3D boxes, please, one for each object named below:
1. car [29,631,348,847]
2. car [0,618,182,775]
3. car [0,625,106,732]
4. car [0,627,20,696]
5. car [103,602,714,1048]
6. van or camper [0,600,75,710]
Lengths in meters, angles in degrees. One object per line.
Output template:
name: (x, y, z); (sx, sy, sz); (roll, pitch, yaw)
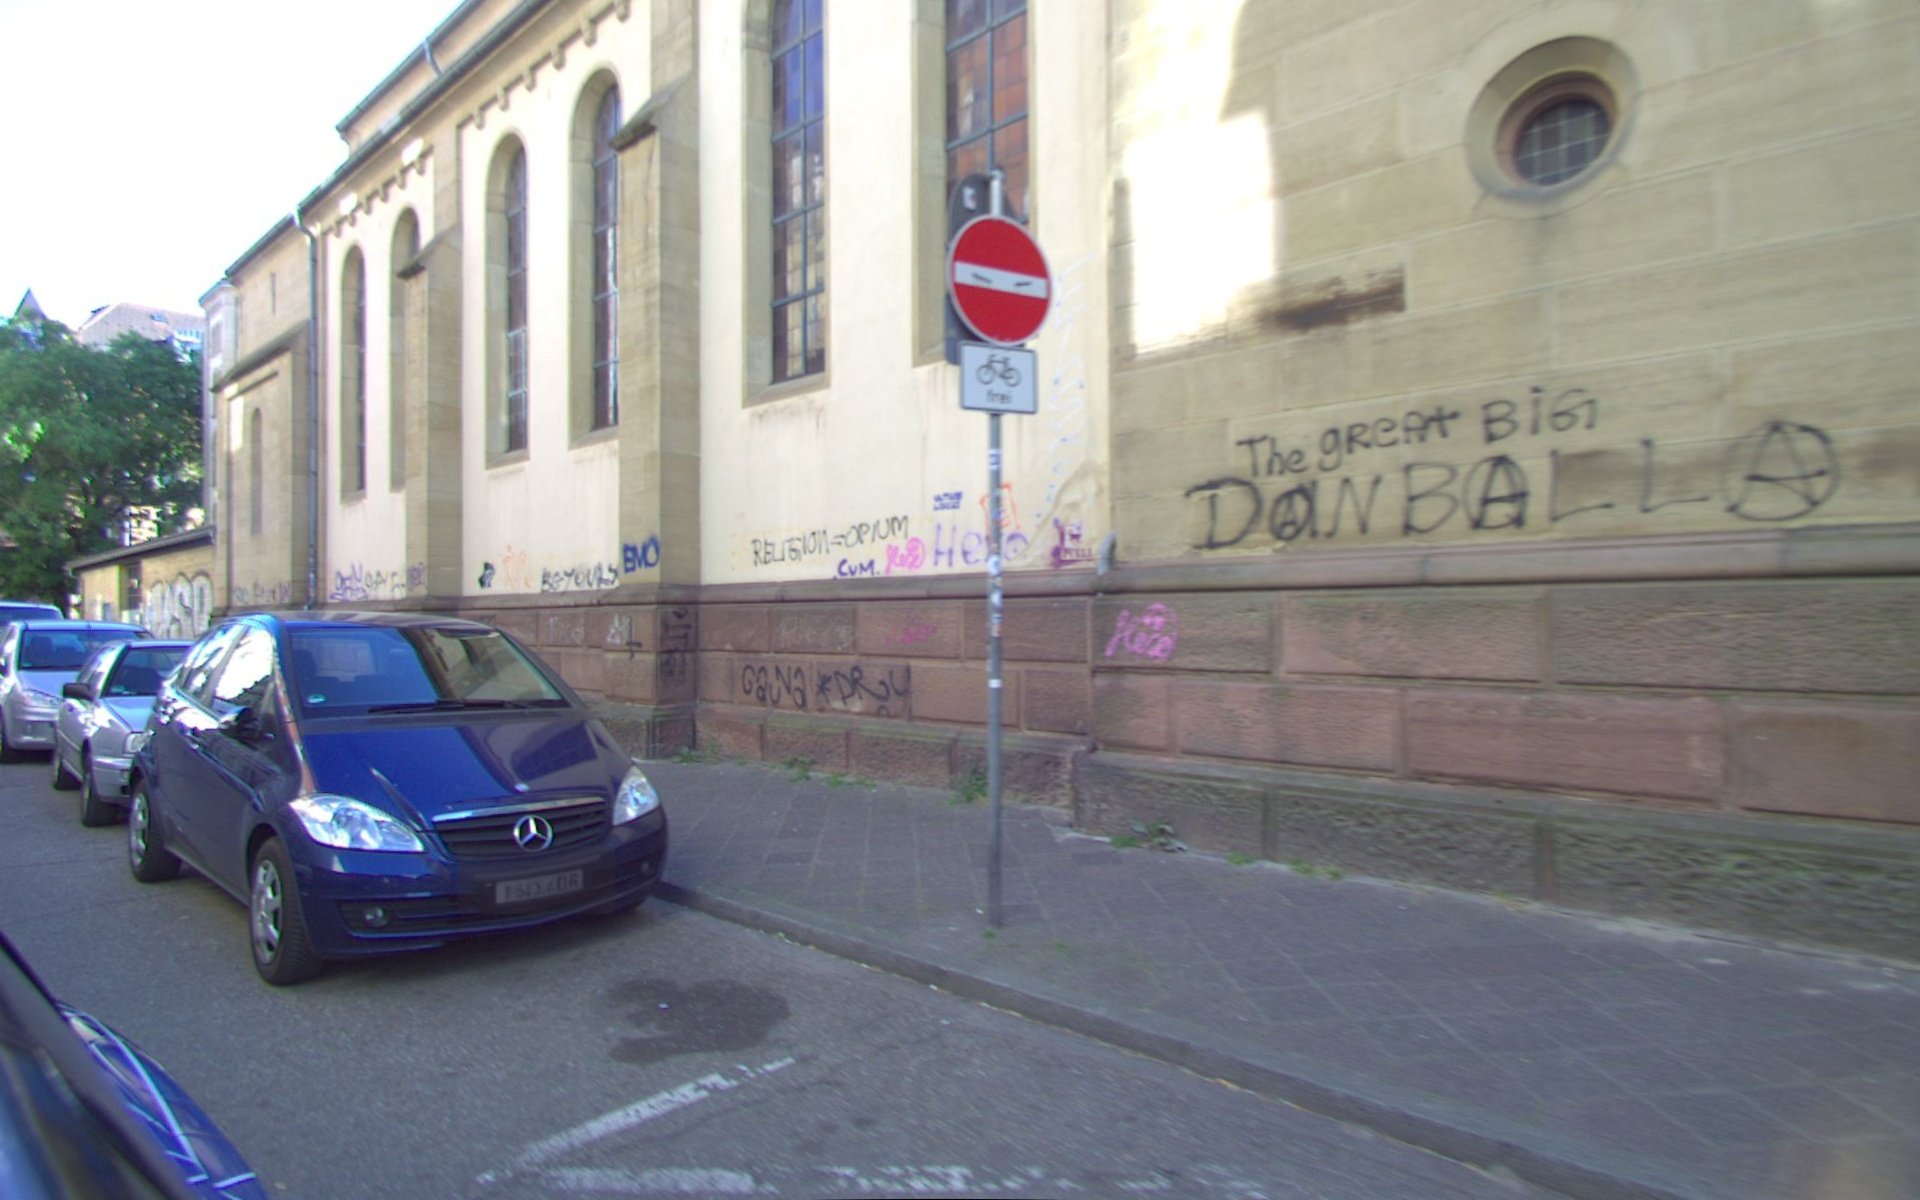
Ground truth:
car: (-6.893, 1.004, 8.869); (4.146, 1.374, 1.555); (-1, 0, 43)
car: (-10.957, 1.036, 12.327); (4.000, 1.579, 1.701); (-1, 0, 43)
car: (-14.824, 1.166, 15.900); (3.735, 1.492, 1.674); (-2, -1, 42)
car: (-23.961, 1.467, 24.373); (3.639, 1.578, 1.631); (-2, -1, 42)
car: (-3.213, 0.820, 5.546); (3.833, 1.564, 1.775); (-1, 0, 42)
van or camper: (-18.828, 1.024, 19.653); (4.562, 1.966, 1.958); (-2, -1, 42)
